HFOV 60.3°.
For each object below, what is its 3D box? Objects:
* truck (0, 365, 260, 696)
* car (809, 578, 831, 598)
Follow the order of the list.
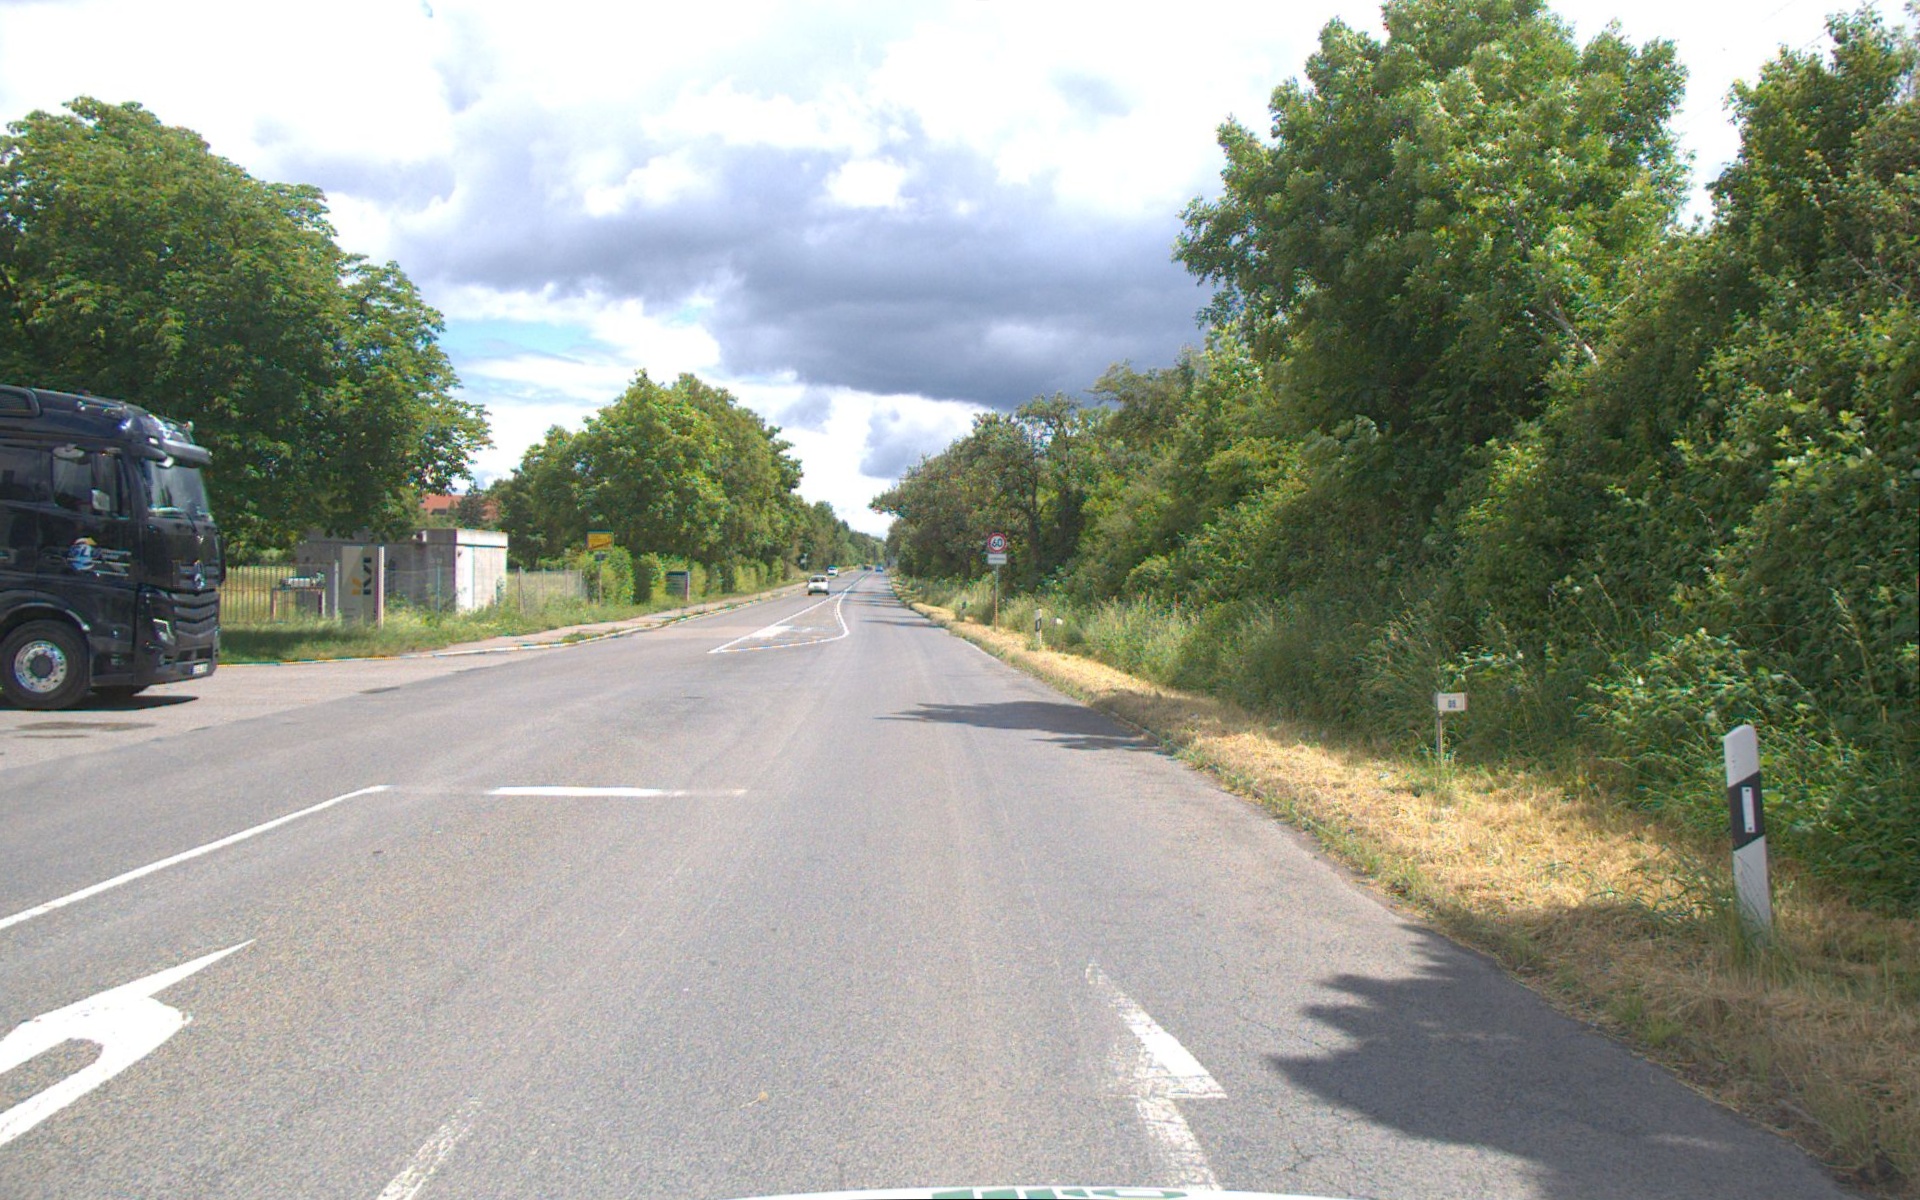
[{"bbox_3d":[-12.135,-0.832,20.848,5.449,3.890,2.980,0,0,-8],"label":"truck"},{"bbox_3d":[-10.657,-0.930,125.969,1.628,1.457,3.690,-1,1,-4],"label":"car"}]
